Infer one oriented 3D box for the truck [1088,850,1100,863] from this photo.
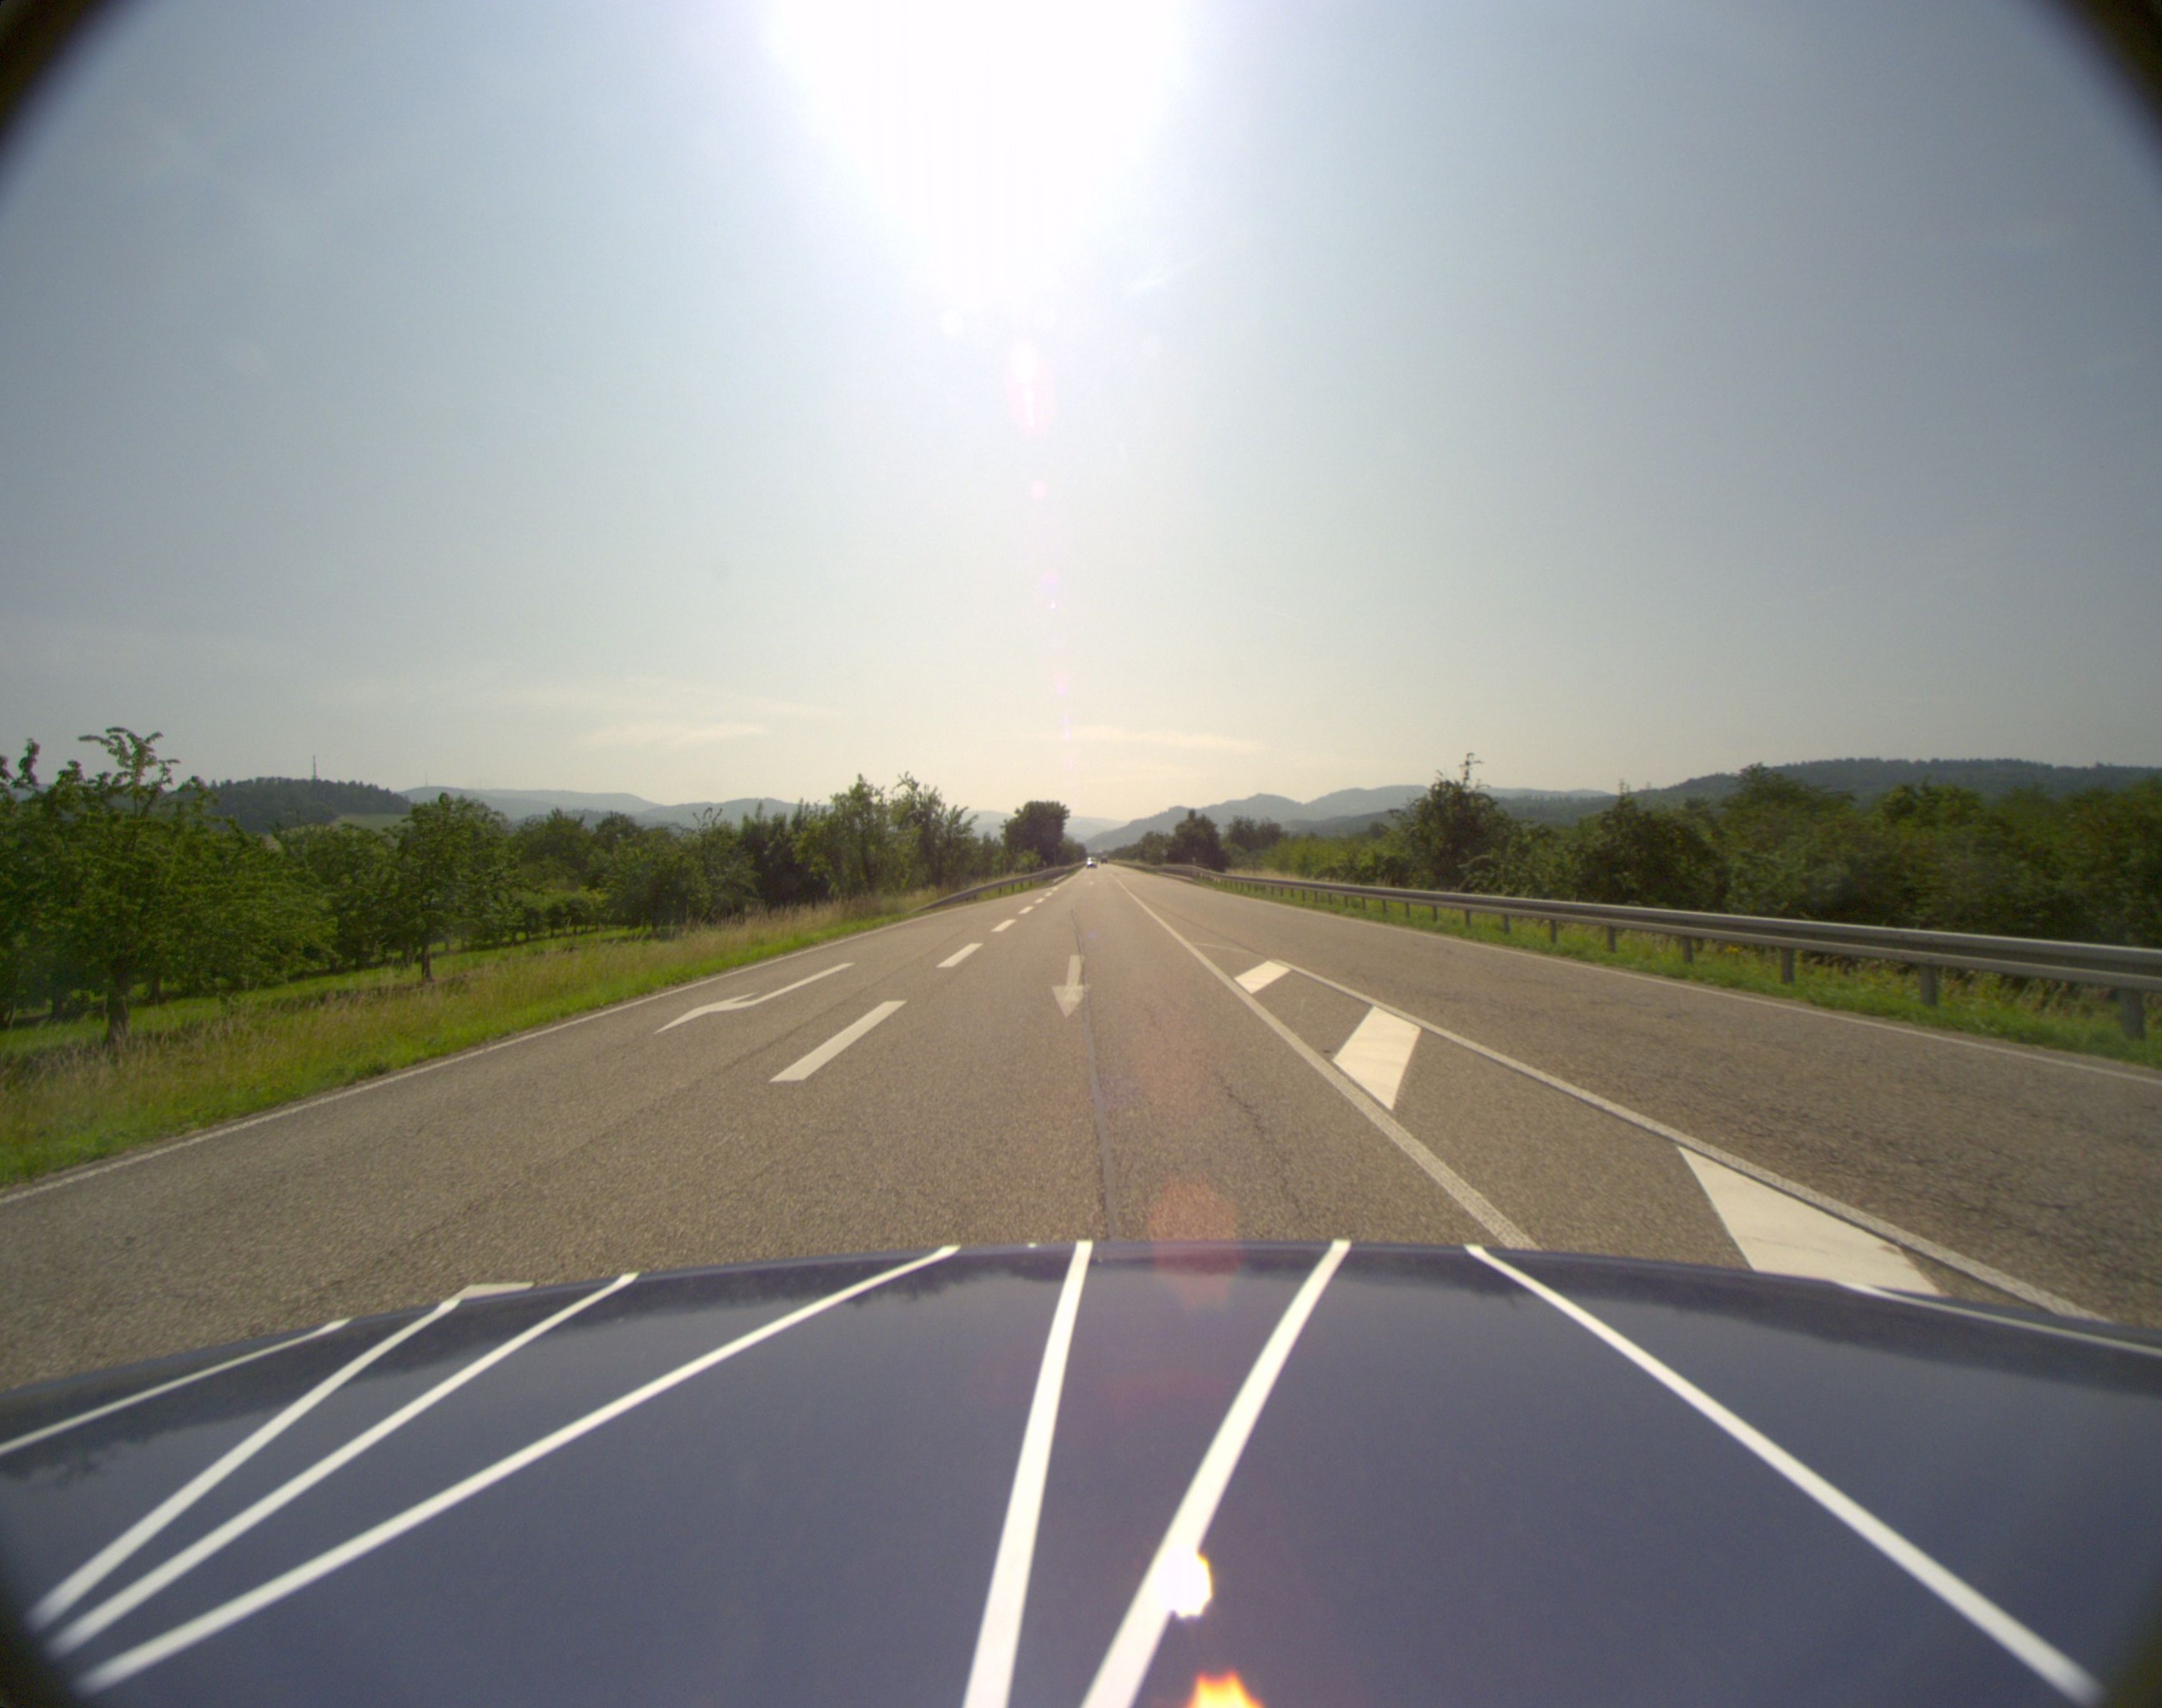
[{"bbox_3d":[2.367,0.451,138.792,2.031,2.232,4.765,-1,0,2],"label":"truck"}]
